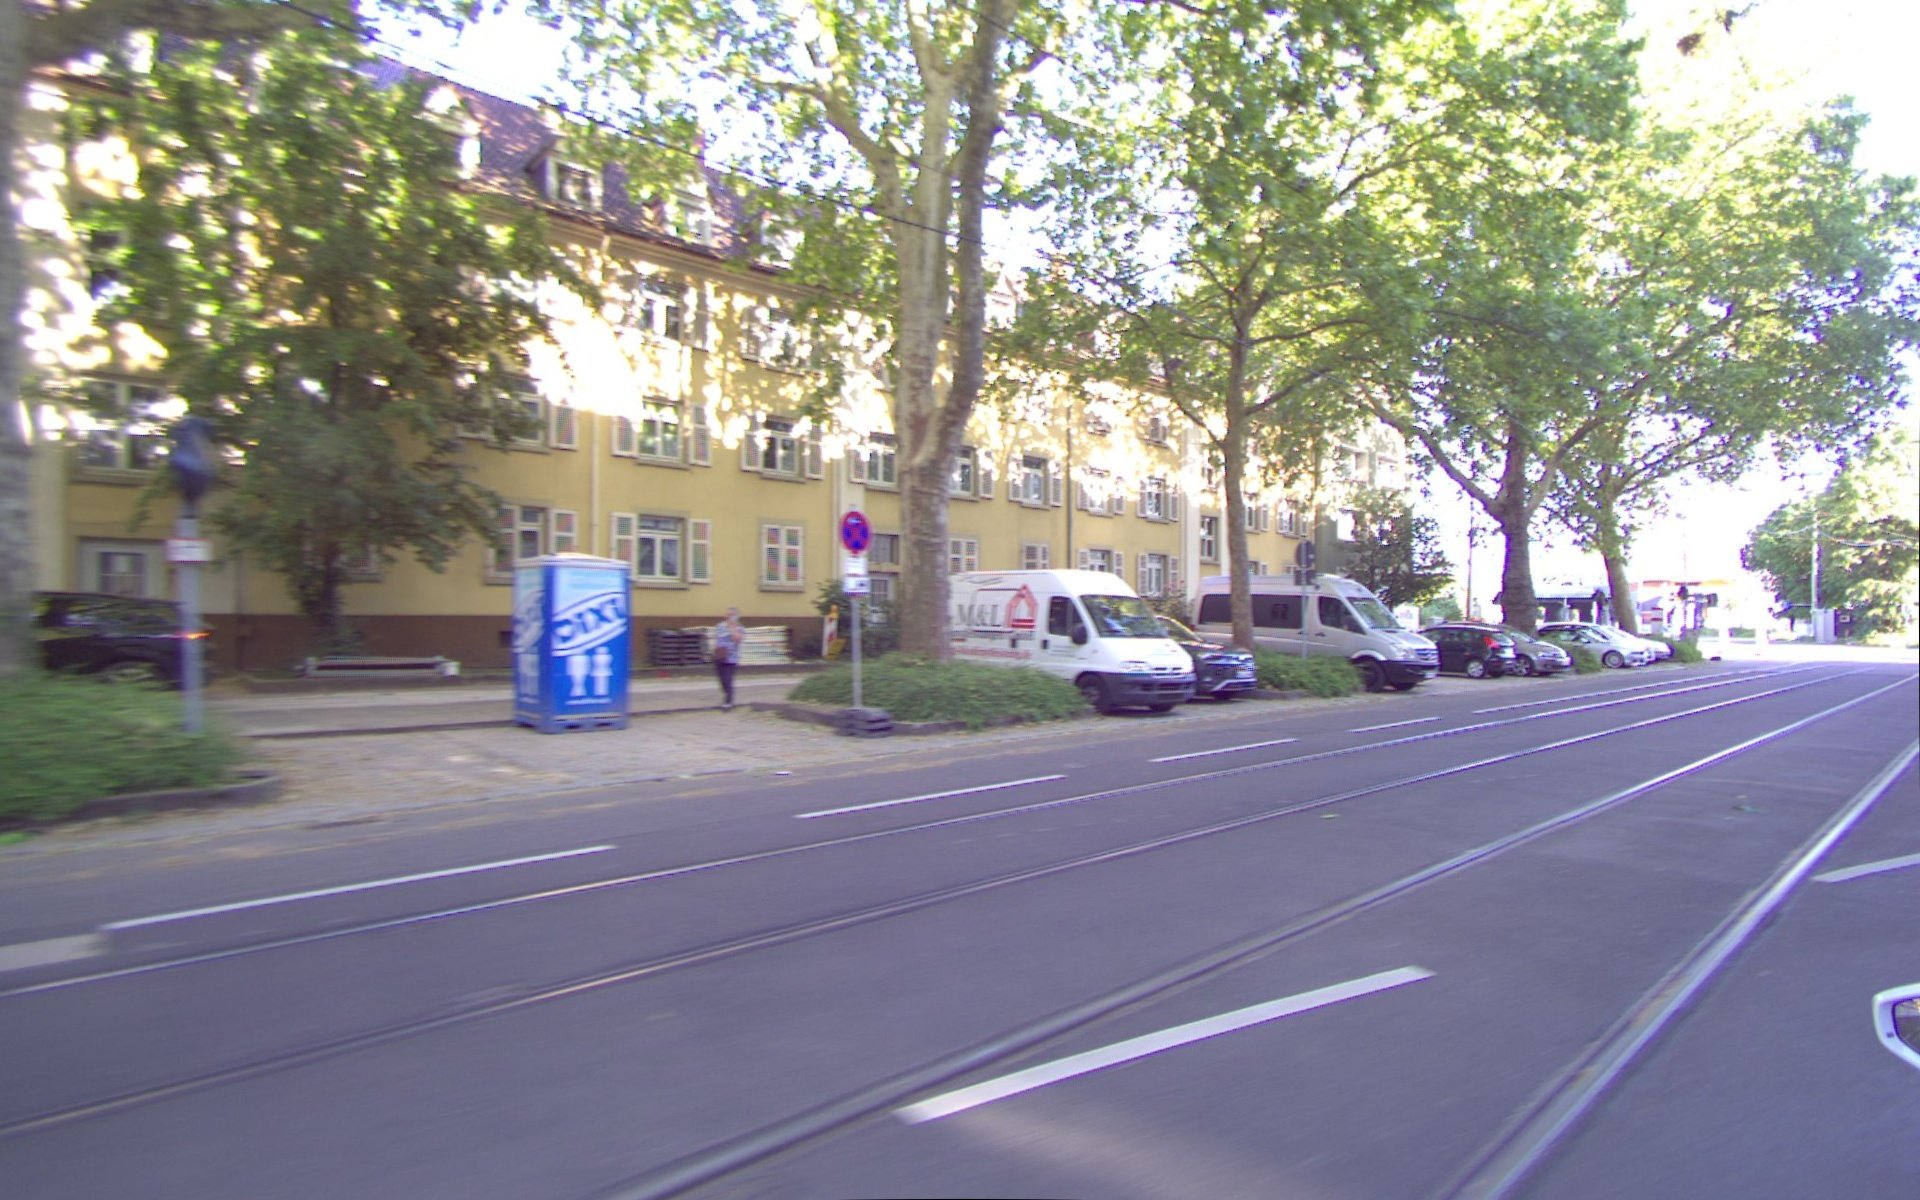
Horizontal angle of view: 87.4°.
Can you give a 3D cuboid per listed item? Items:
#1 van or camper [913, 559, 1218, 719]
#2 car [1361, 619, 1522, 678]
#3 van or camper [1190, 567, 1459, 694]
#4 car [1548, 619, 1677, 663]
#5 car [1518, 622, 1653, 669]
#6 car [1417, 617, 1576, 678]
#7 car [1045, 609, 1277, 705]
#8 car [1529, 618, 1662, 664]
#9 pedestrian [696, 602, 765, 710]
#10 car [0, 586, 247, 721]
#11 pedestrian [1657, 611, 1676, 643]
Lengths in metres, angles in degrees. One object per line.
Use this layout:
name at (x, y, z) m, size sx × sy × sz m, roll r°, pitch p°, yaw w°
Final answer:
van or camper at (1.667, 0.589, 17.934) m, size 2.250 × 2.411 × 5.458 m, roll 1°, pitch 0°, yaw -38°
car at (14.109, 1.380, 29.588) m, size 1.637 × 1.535 × 3.952 m, roll 1°, pitch 0°, yaw -41°
van or camper at (8.554, 0.647, 24.079) m, size 2.252 × 2.679 × 5.673 m, roll 1°, pitch 0°, yaw -41°
car at (26.595, 1.640, 41.024) m, size 1.952 × 1.693 × 4.126 m, roll 1°, pitch -2°, yaw -45°
car at (23.011, 1.635, 37.059) m, size 1.637 × 1.535 × 3.952 m, roll 1°, pitch 0°, yaw -41°
car at (16.363, 1.406, 30.774) m, size 1.637 × 1.673 × 3.952 m, roll 1°, pitch 0°, yaw -41°
car at (3.866, 1.045, 19.800) m, size 1.952 × 1.693 × 4.126 m, roll 1°, pitch -2°, yaw -45°
car at (24.816, 1.552, 39.308) m, size 1.952 × 1.693 × 4.126 m, roll 1°, pitch -2°, yaw -45°
pedestrian at (-3.651, 0.868, 15.934) m, size 0.877 × 1.634 × 0.757 m, roll 1°, pitch 1°, yaw -28°
car at (-11.841, 0.631, 12.759) m, size 4.480 × 1.592 × 1.776 m, roll 1°, pitch 0°, yaw -38°
pedestrian at (49.405, 1.876, 70.252) m, size 0.805 × 2.250 × 0.900 m, roll 1°, pitch 0°, yaw 14°
